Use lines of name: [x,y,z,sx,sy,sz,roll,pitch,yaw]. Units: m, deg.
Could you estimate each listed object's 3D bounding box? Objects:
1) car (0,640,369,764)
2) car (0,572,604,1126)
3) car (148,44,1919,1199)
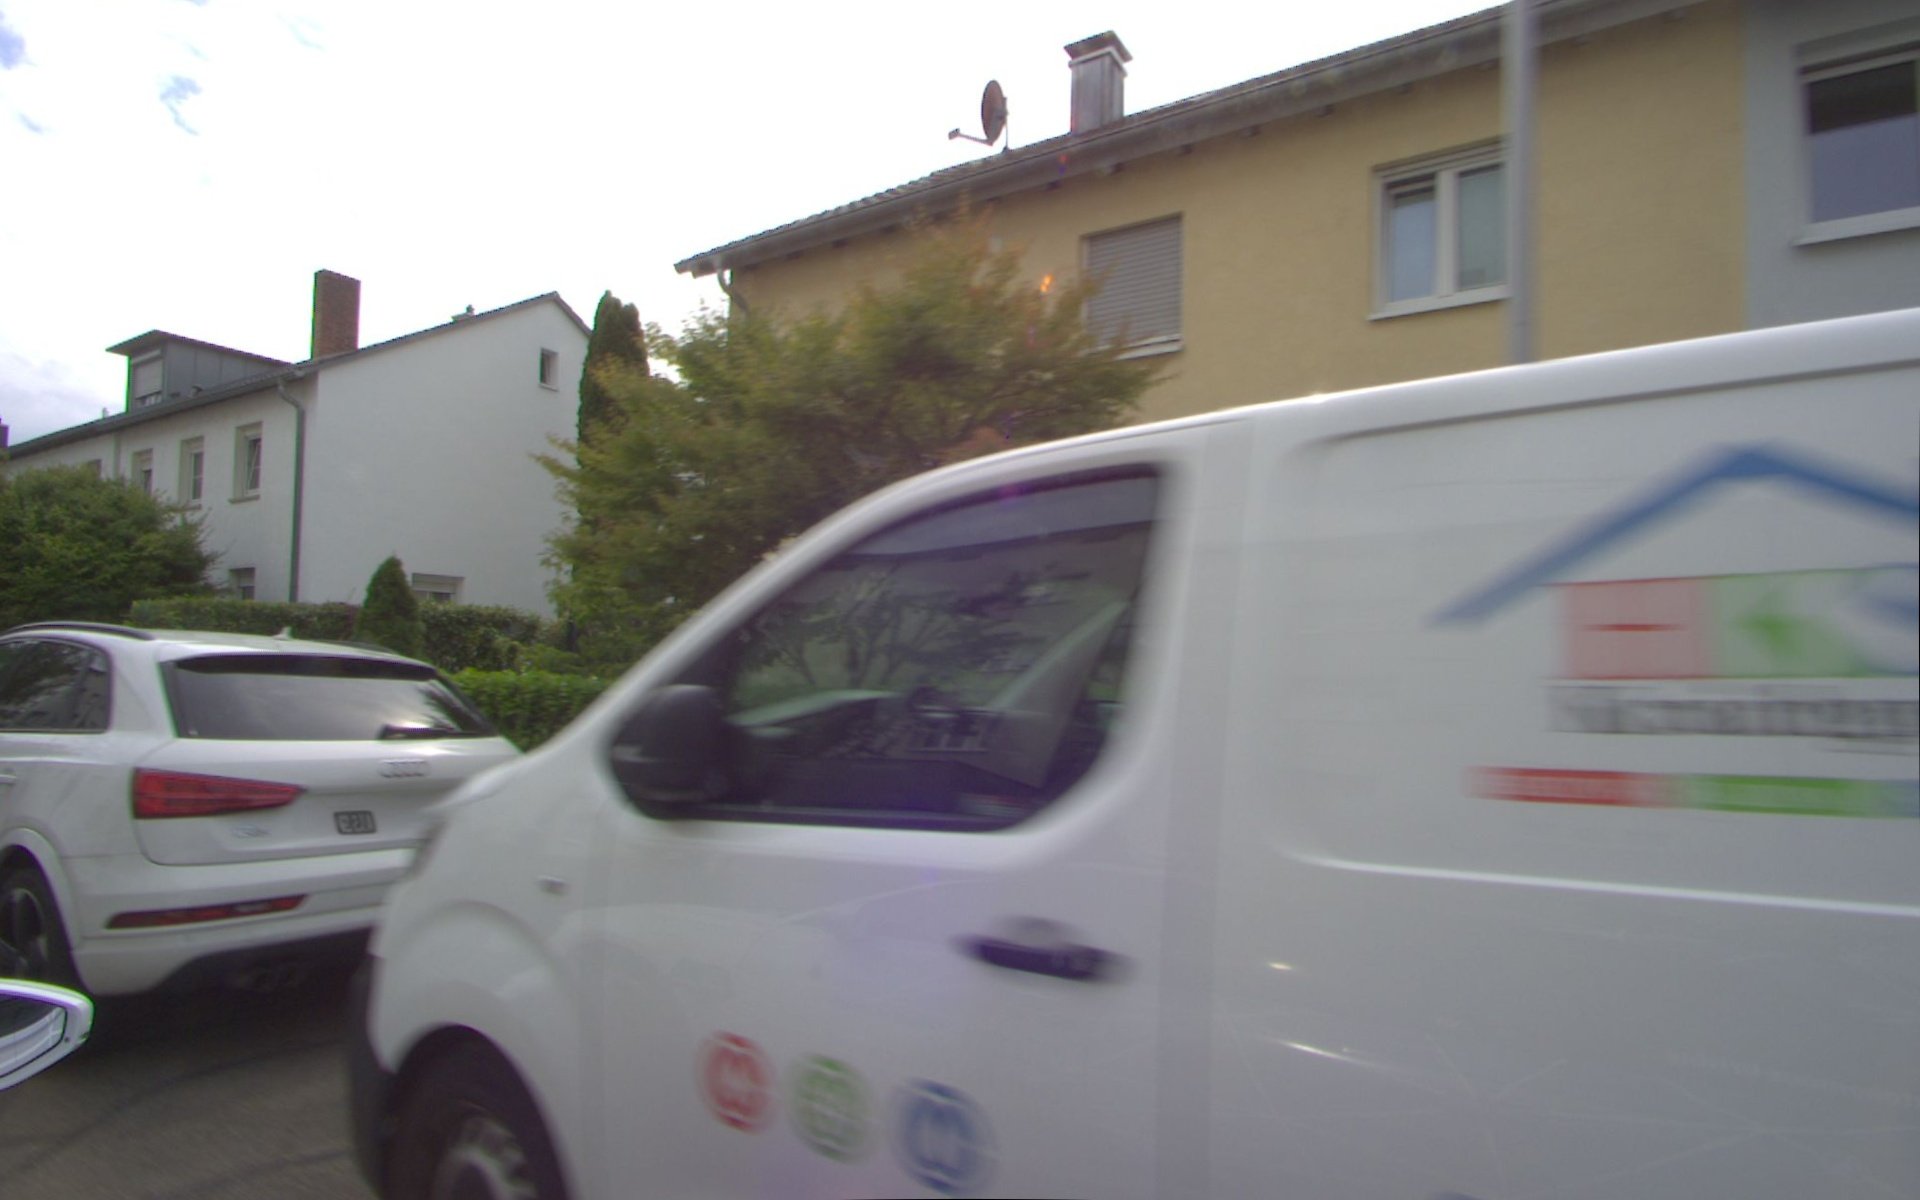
car: [-10.852,1.306,14.095,1.824,1.445,4.021,0,-2,26]
car: [-3.910,0.849,4.849,4.099,1.654,1.825,-1,-5,30]
car: [0.782,0.628,1.872,5.178,1.987,1.903,-1,-5,32]
